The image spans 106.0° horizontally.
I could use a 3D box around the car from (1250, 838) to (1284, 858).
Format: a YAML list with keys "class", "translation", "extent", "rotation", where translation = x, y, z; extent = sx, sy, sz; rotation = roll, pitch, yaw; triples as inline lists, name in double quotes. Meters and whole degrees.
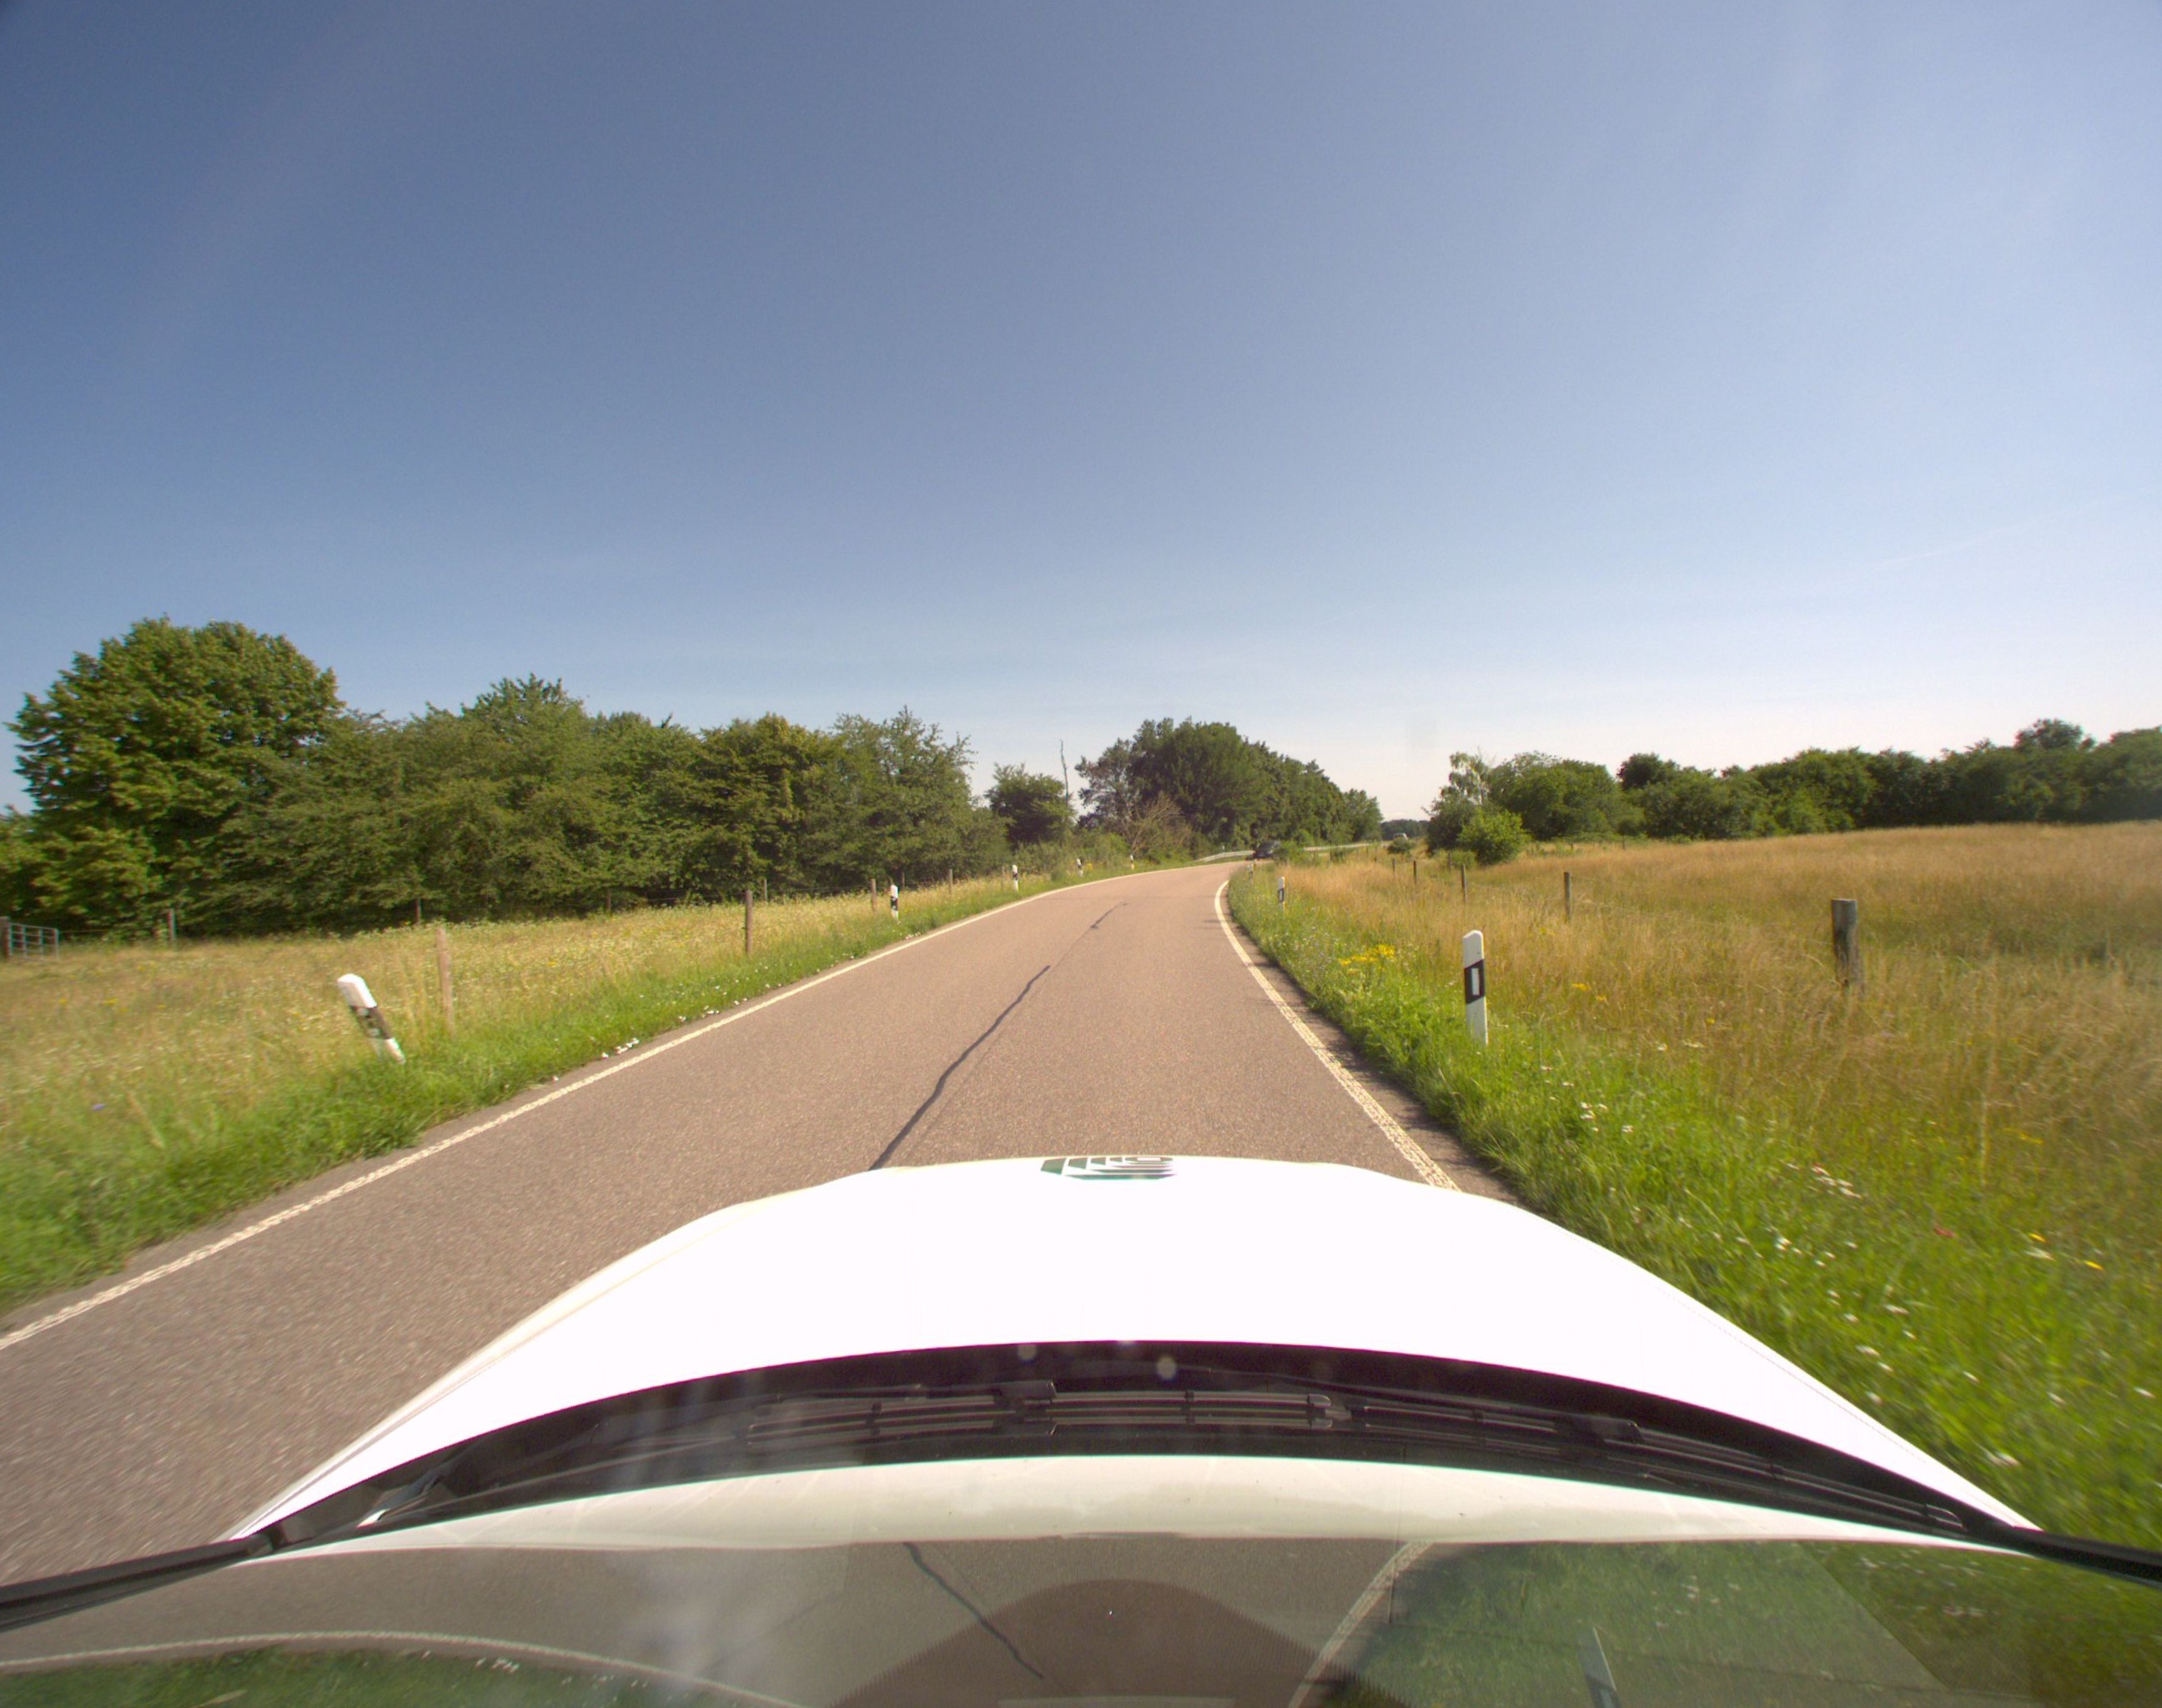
- class: "car"
  translation: [15.807, -0.483, 69.020]
  extent: [1.767, 1.632, 4.186]
  rotation: [-1, -1, 28]

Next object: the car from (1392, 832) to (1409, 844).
- class: "car"
  translation: [50.399, -2.470, 128.559]
  extent: [1.943, 1.802, 4.186]
  rotation: [-1, -1, 28]
